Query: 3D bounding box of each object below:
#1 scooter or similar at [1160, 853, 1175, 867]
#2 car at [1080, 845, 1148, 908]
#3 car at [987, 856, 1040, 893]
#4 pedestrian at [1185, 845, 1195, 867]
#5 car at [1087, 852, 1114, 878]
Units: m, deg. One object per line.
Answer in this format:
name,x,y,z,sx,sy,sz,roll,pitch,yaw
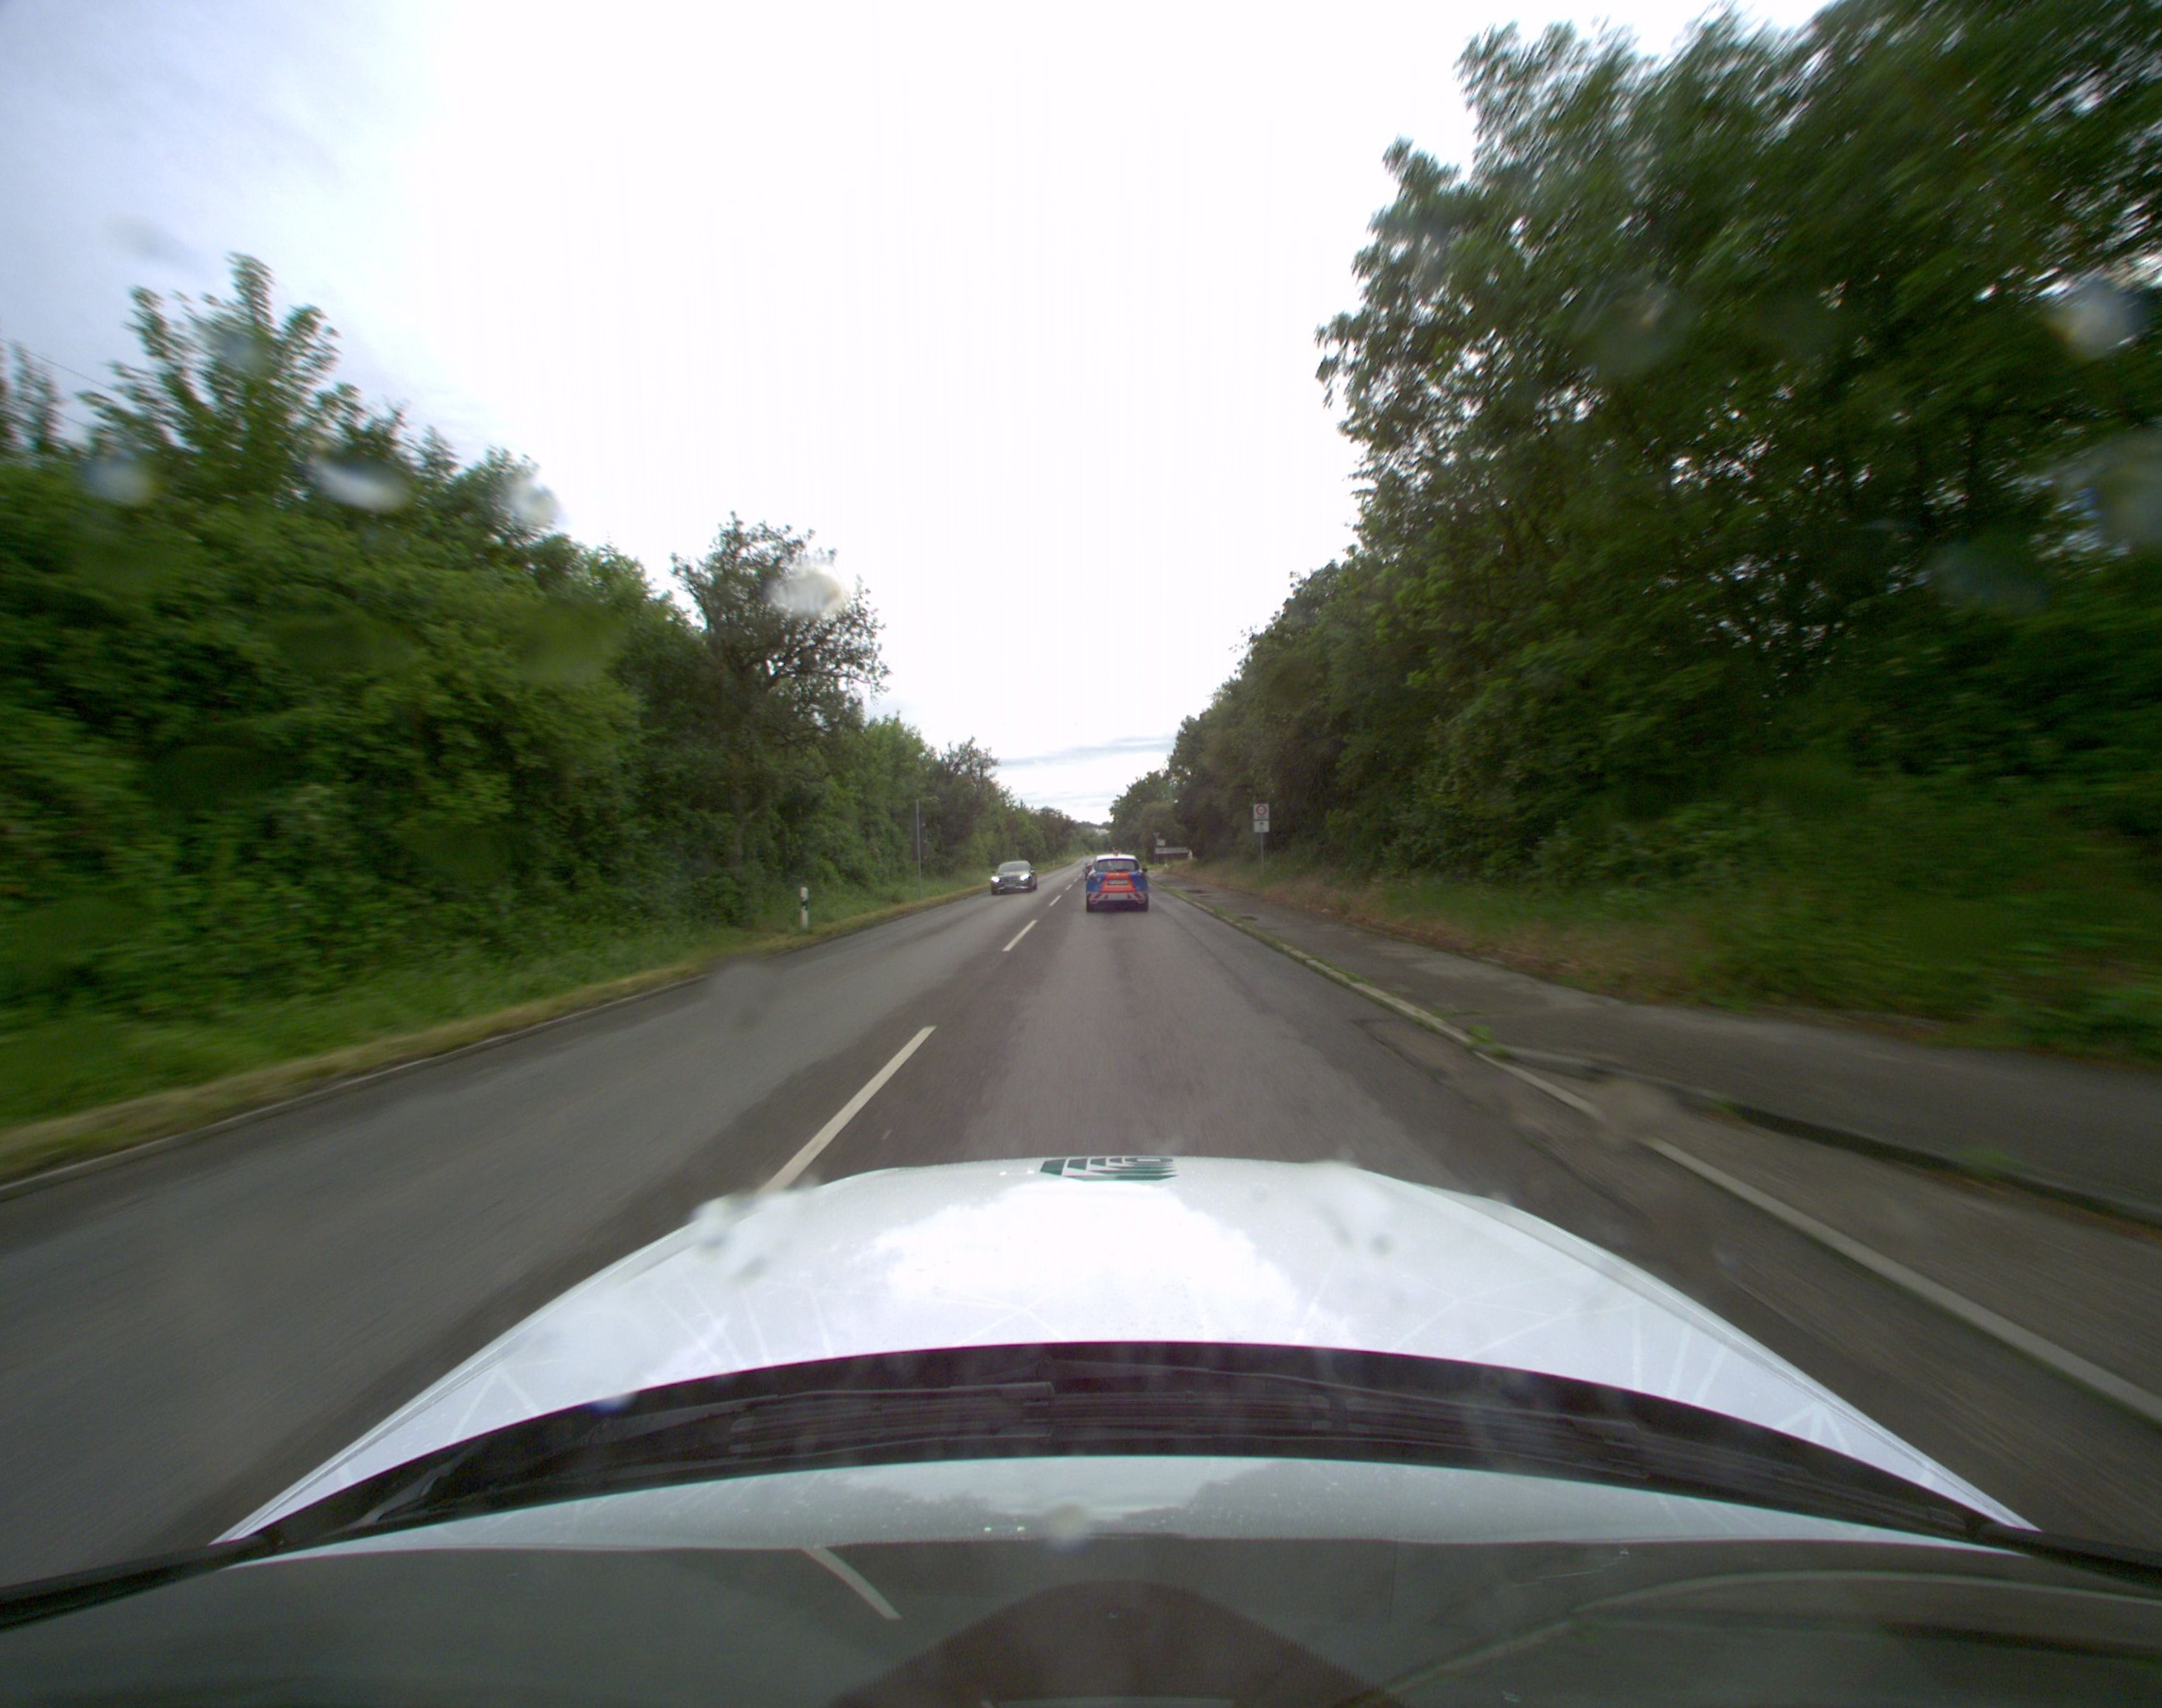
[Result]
scooter or similar,7.803,0.577,73.441,1.310,1.206,0.376,-3,-1,42
car,0.924,0.612,23.506,1.799,1.668,3.856,0,0,1
car,-3.095,0.903,38.207,1.864,1.489,4.575,-5,0,1
pedestrian,9.404,0.173,70.015,0.690,1.827,0.801,-3,-1,1
car,1.229,0.685,51.997,1.688,1.595,3.855,0,0,0
